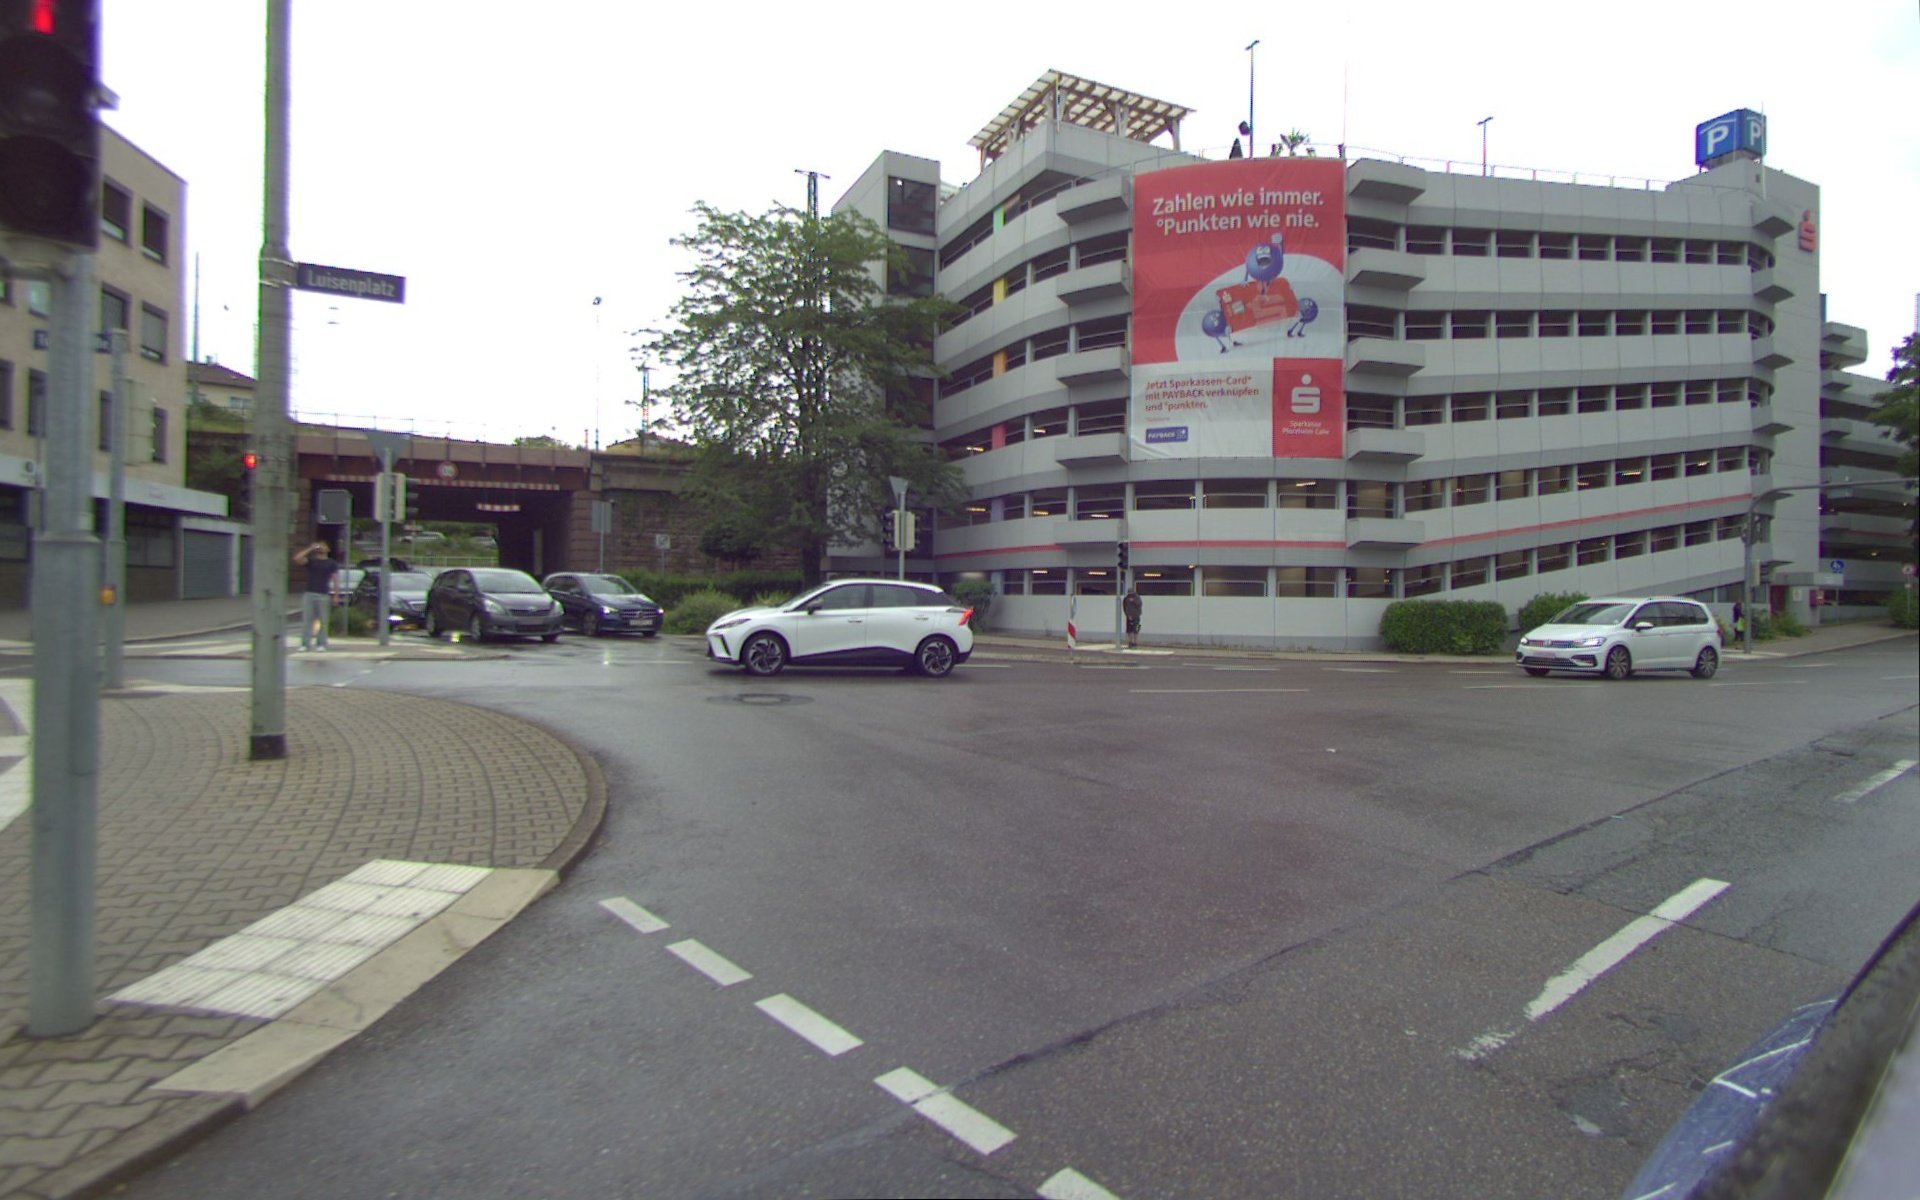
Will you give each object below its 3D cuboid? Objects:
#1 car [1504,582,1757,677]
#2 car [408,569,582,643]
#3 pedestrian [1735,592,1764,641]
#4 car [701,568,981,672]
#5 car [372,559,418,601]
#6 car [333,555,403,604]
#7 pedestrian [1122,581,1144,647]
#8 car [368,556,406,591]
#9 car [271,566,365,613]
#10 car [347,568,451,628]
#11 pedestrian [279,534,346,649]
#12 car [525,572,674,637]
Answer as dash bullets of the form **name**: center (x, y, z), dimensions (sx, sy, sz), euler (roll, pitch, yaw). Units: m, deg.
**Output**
- **car**: center (13.364, 0.560, 20.209), dimensions (4.307, 1.748, 2.004), euler (1, 0, -19)
- **car**: center (-10.606, 0.063, 22.948), dimensions (4.467, 1.462, 1.970), euler (2, 2, 42)
- **pedestrian**: center (27.915, 0.580, 35.783), dimensions (0.508, 1.679, 0.586), euler (-1, 3, -23)
- **car**: center (-1.923, 0.324, 16.065), dimensions (4.120, 1.497, 1.809), euler (0, -2, -18)
- **car**: center (-29.869, -1.047, 53.604), dimensions (1.959, 2.039, 4.005), euler (-1, -1, -27)
- **car**: center (-23.810, -0.792, 40.851), dimensions (1.959, 1.805, 4.170), euler (-1, -1, -24)
- **pedestrian**: center (5.093, 0.398, 29.751), dimensions (0.536, 1.913, 0.506), euler (3, 1, 10)
- **car**: center (-36.699, -1.672, 64.901), dimensions (1.959, 2.039, 4.005), euler (-1, -1, -27)
- **car**: center (-22.252, -0.397, 34.982), dimensions (1.966, 1.462, 4.476), euler (0, 2, -43)
- **car**: center (-15.297, -0.106, 27.479), dimensions (1.962, 1.462, 4.485), euler (0, 2, -36)
- **pedestrian**: center (-10.606, -0.128, 16.574), dimensions (0.762, 1.814, 0.856), euler (0, -2, -44)
- **car**: center (-9.260, 0.058, 25.784), dimensions (1.966, 1.462, 4.476), euler (0, 2, -43)
